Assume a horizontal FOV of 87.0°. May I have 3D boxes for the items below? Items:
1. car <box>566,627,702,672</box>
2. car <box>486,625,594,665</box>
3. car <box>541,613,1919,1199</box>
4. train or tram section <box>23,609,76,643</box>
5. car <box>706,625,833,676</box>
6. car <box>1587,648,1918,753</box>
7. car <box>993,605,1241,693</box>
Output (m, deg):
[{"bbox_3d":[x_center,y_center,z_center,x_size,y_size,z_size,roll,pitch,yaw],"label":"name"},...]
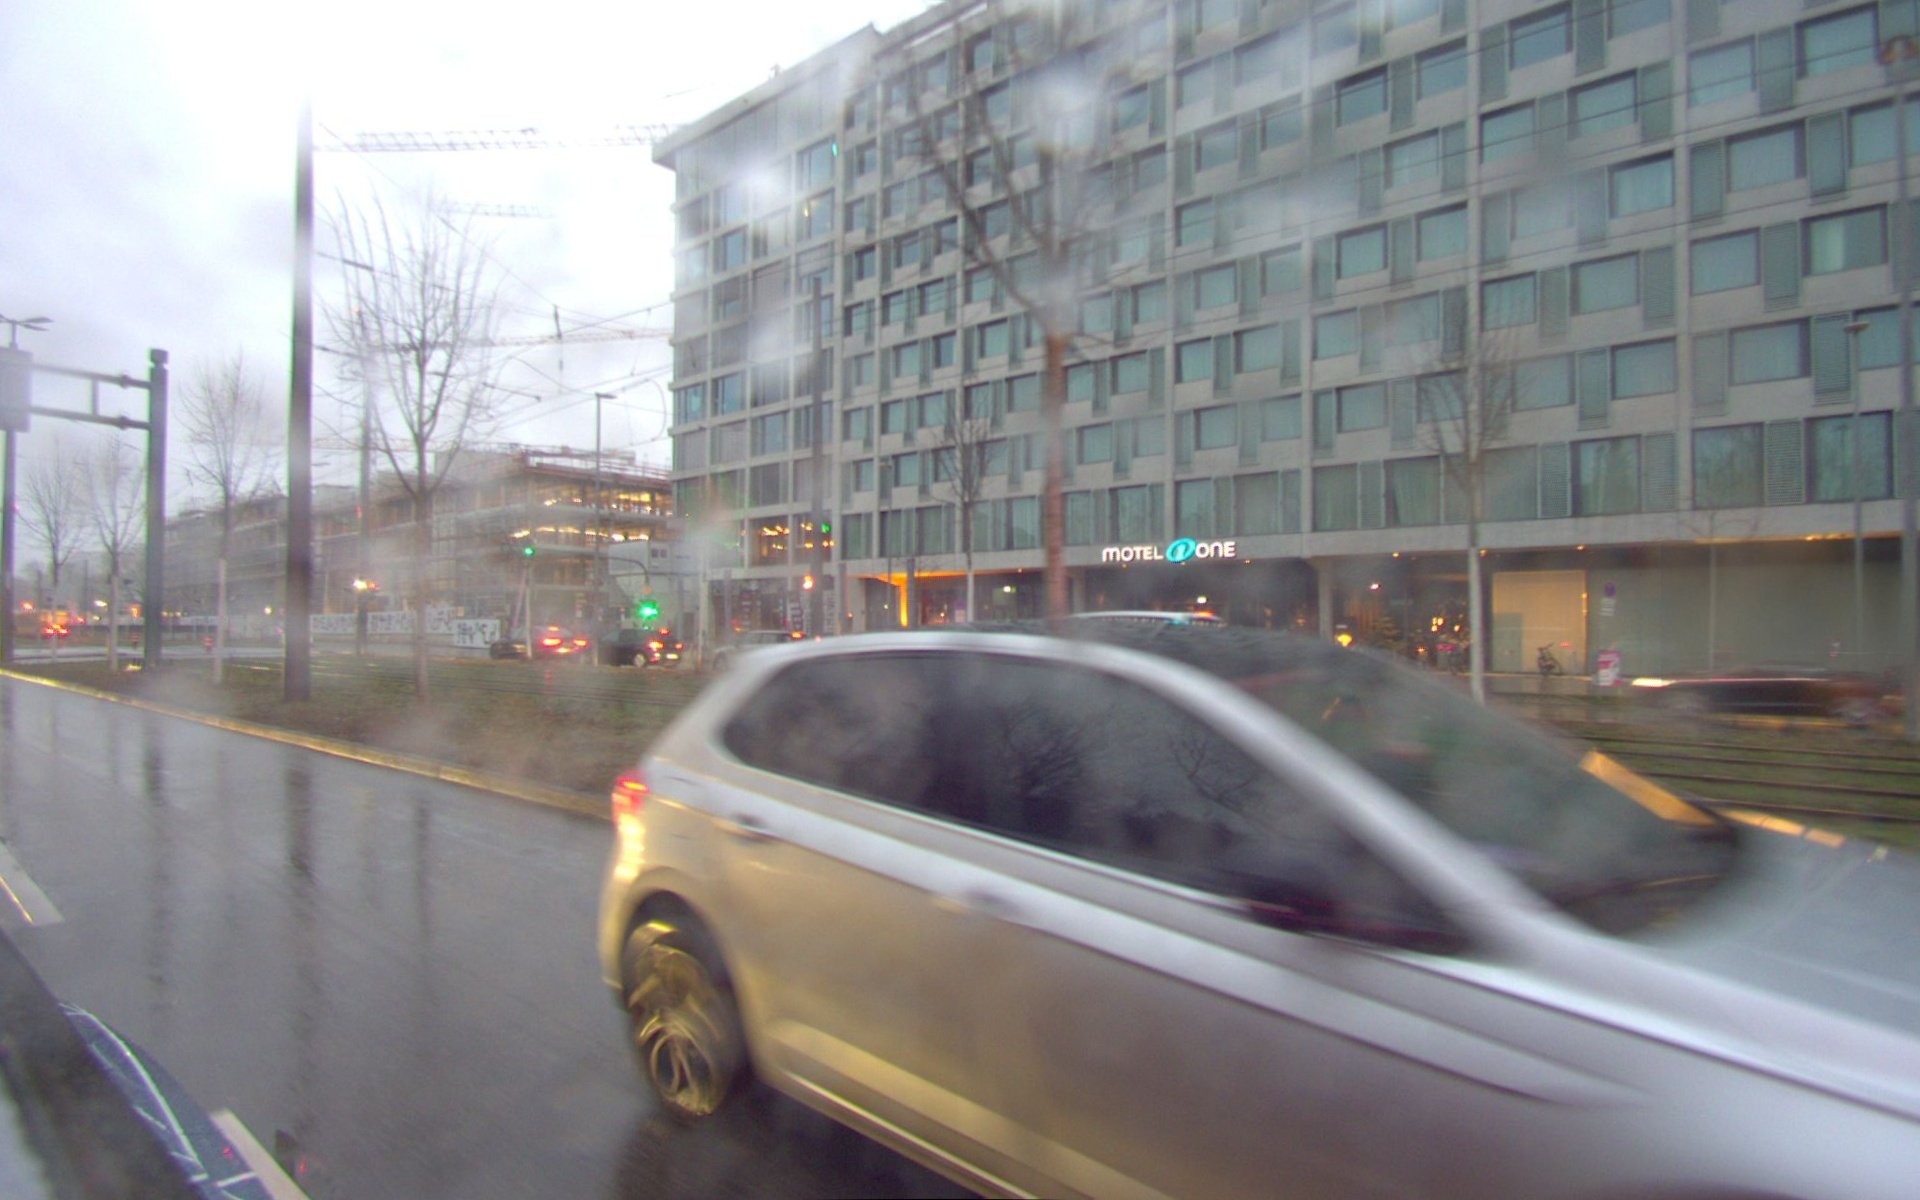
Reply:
[{"bbox_3d":[-11.501,1.704,35.714,4.425,1.508,1.983,-1,-2,26],"label":"car"},{"bbox_3d":[-16.655,1.753,39.988,5.032,1.479,1.972,-2,-3,42],"label":"car"},{"bbox_3d":[0.757,0.737,2.525,3.979,1.381,1.744,-1,-1,41],"label":"car"},{"bbox_3d":[-98.137,2.821,108.963,14.265,3.513,2.925,-2,-3,43],"label":"train or tram section"},{"bbox_3d":[-5.783,1.491,30.625,3.704,1.442,1.876,-1,-3,40],"label":"car"},{"bbox_3d":[15.336,1.845,19.853,4.915,1.732,1.876,-2,-2,42],"label":"car"},{"bbox_3d":[3.329,1.029,22.139,5.111,1.732,1.877,-1,-2,38],"label":"car"}]
